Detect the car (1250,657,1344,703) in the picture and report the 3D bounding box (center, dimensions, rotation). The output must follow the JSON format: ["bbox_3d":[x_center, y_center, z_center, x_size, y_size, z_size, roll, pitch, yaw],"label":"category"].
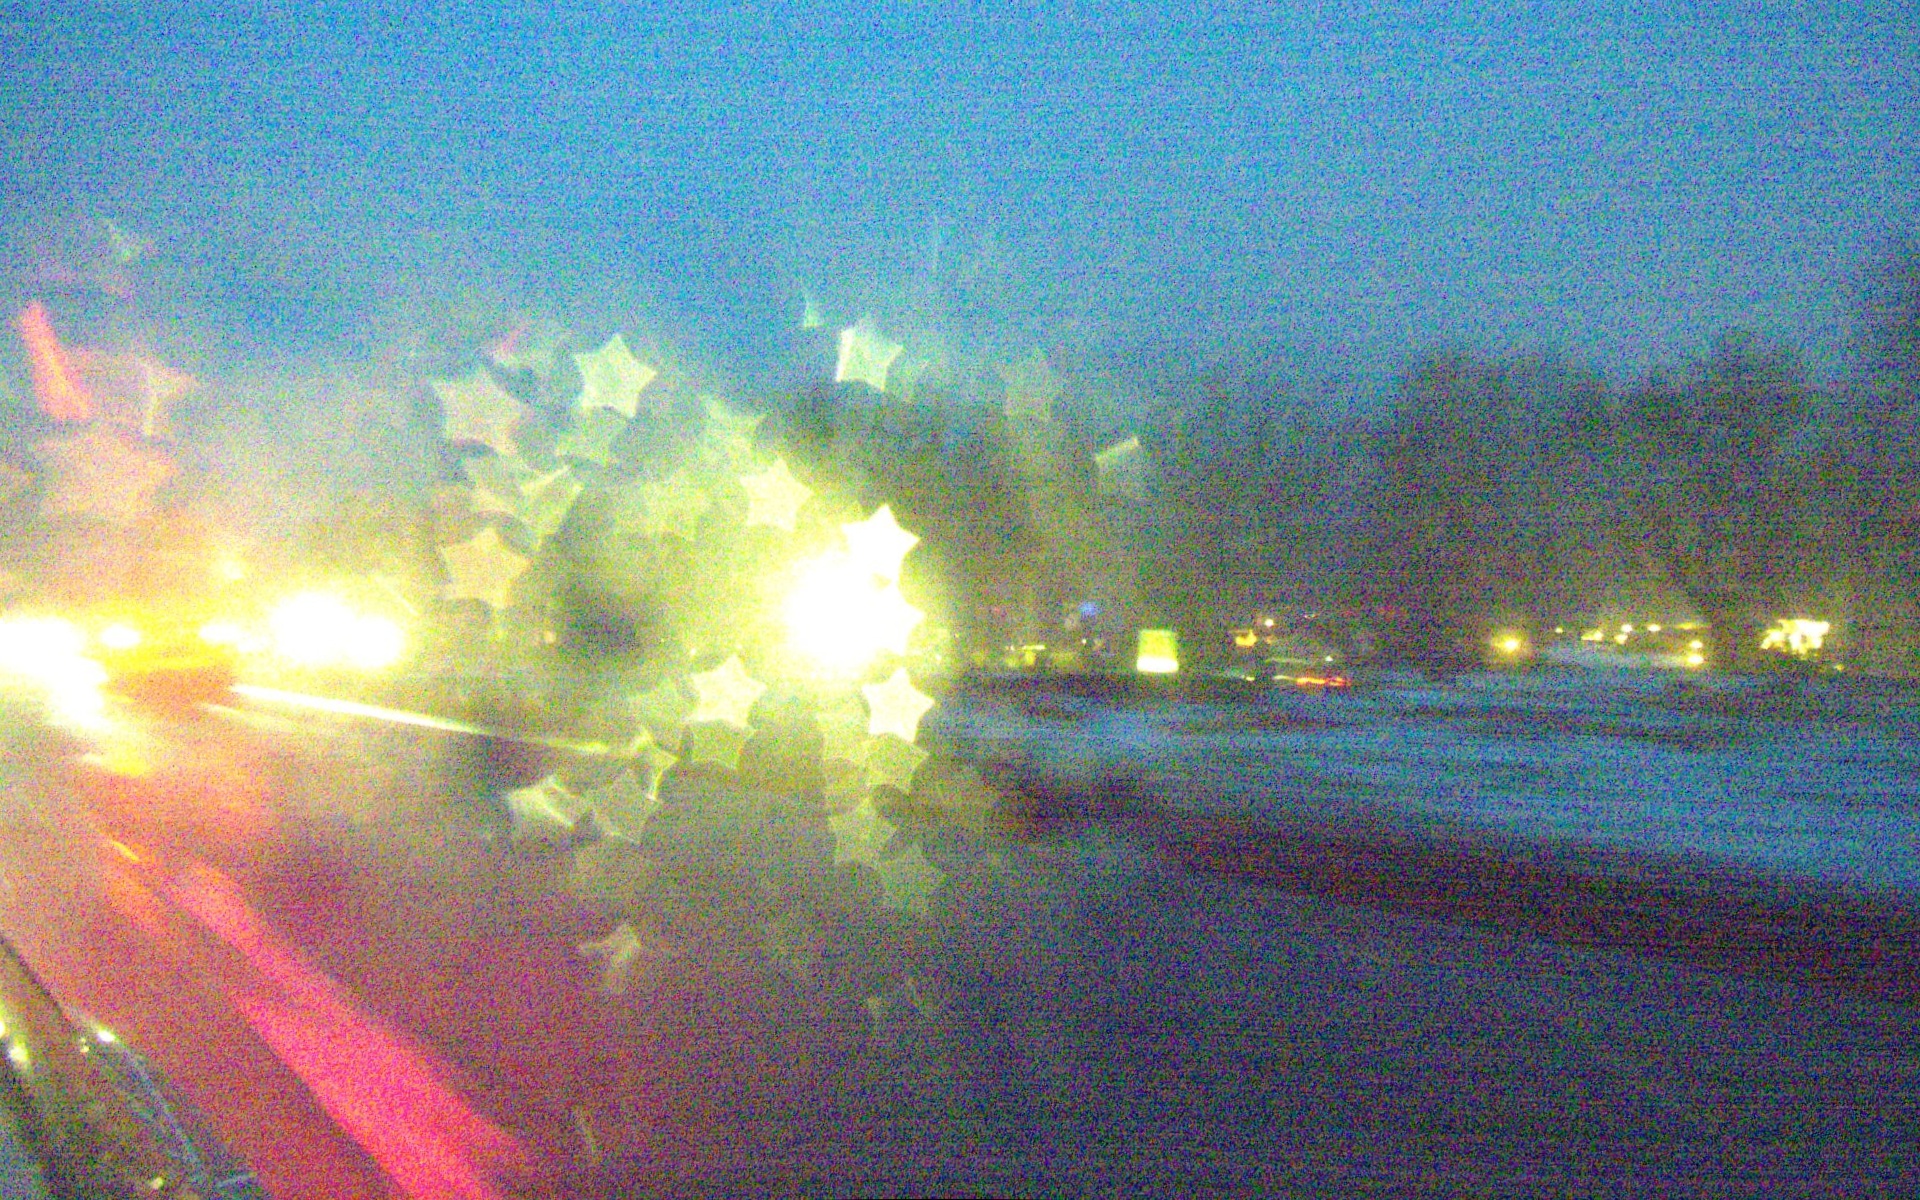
[{"bbox_3d":[13.328,3.129,40.182,1.632,1.532,3.461,-1,0,-23],"label":"car"}]

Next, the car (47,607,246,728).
[{"bbox_3d":[-12.381,0.912,15.312,3.999,1.554,1.716,-1,0,42],"label":"car"}]
